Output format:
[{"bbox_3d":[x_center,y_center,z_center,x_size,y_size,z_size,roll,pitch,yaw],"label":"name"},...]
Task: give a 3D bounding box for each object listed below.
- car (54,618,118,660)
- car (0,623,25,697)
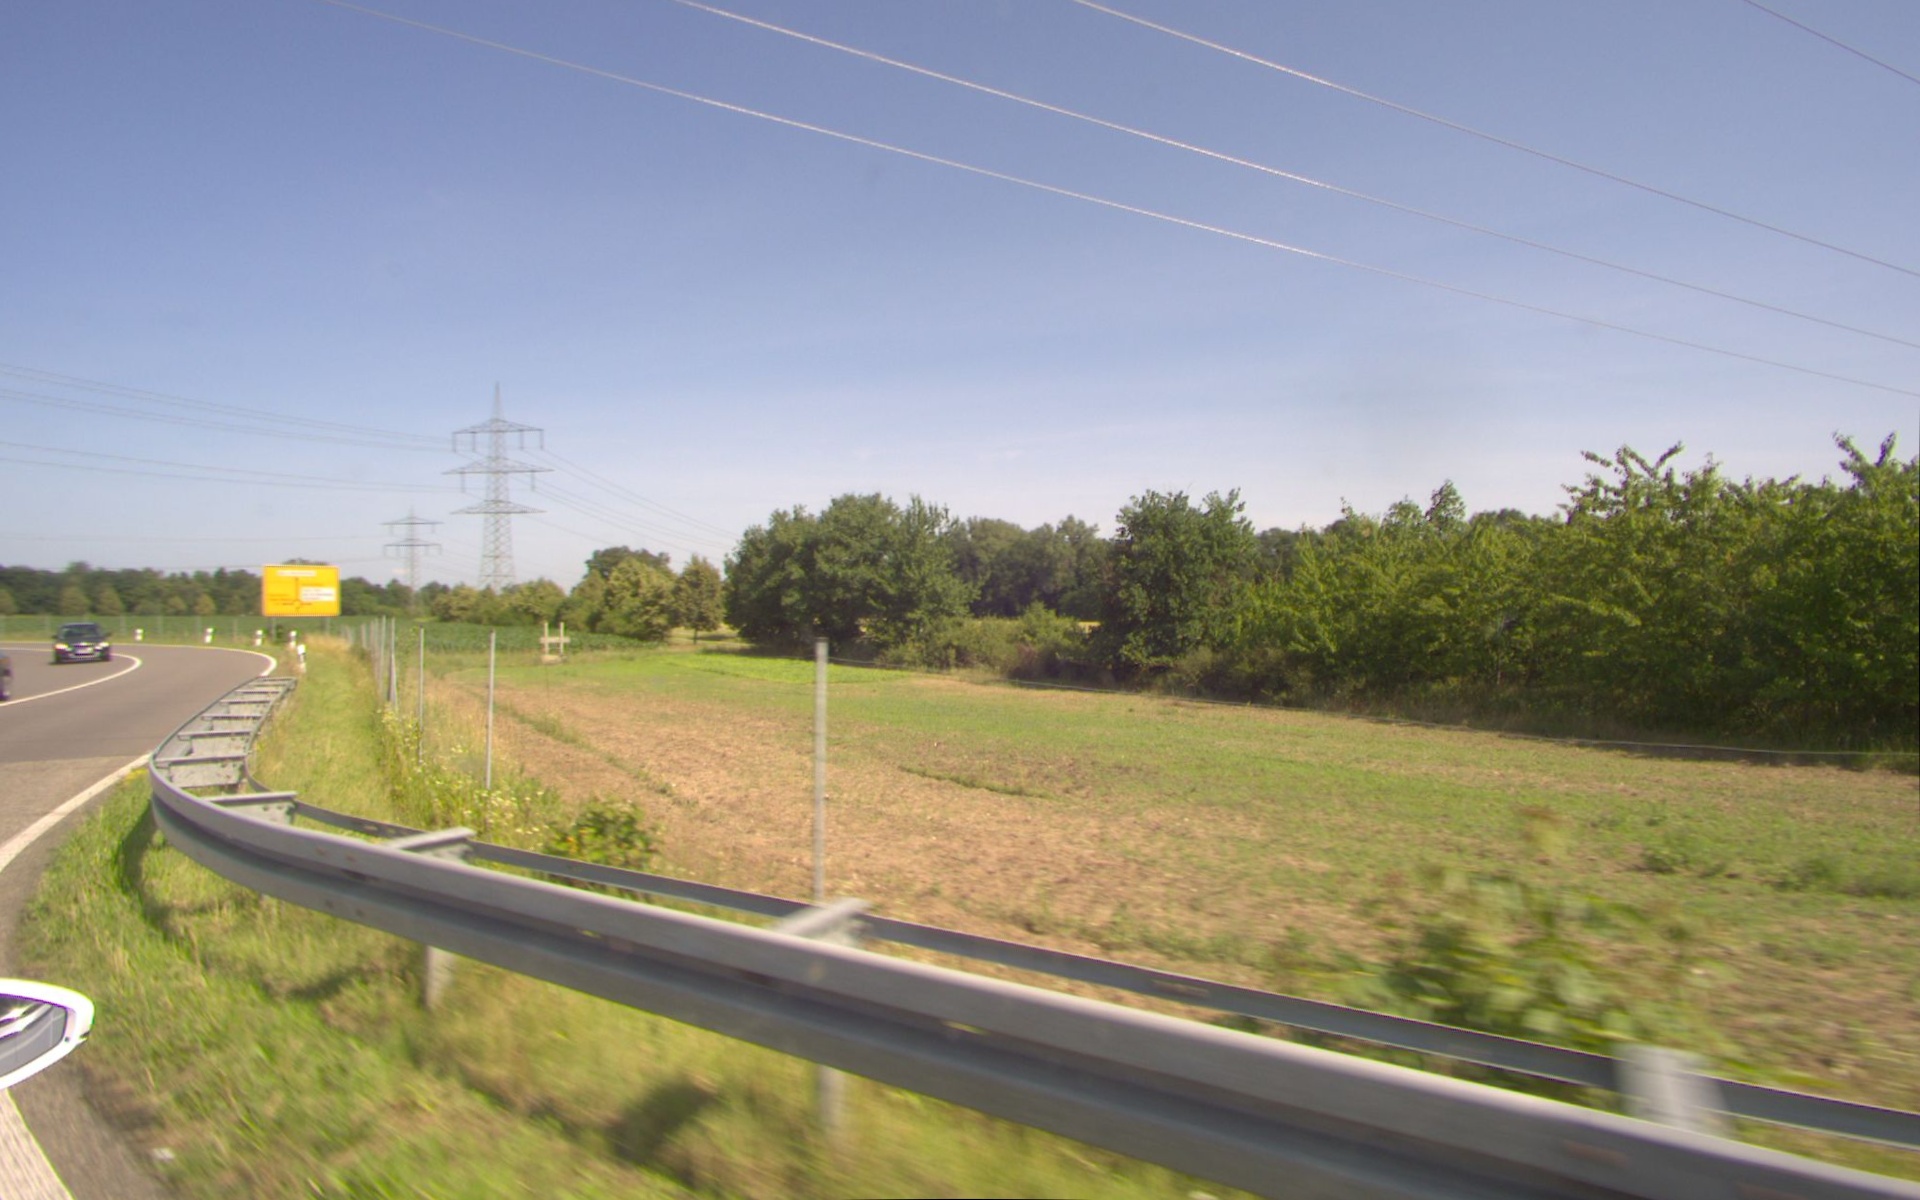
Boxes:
[{"bbox_3d":[-37.569,1.637,43.056,1.970,1.728,4.223,2,-2,-42],"label":"car"},{"bbox_3d":[-19.865,1.213,19.399,1.757,1.475,4.564,-1,0,-33],"label":"car"}]
